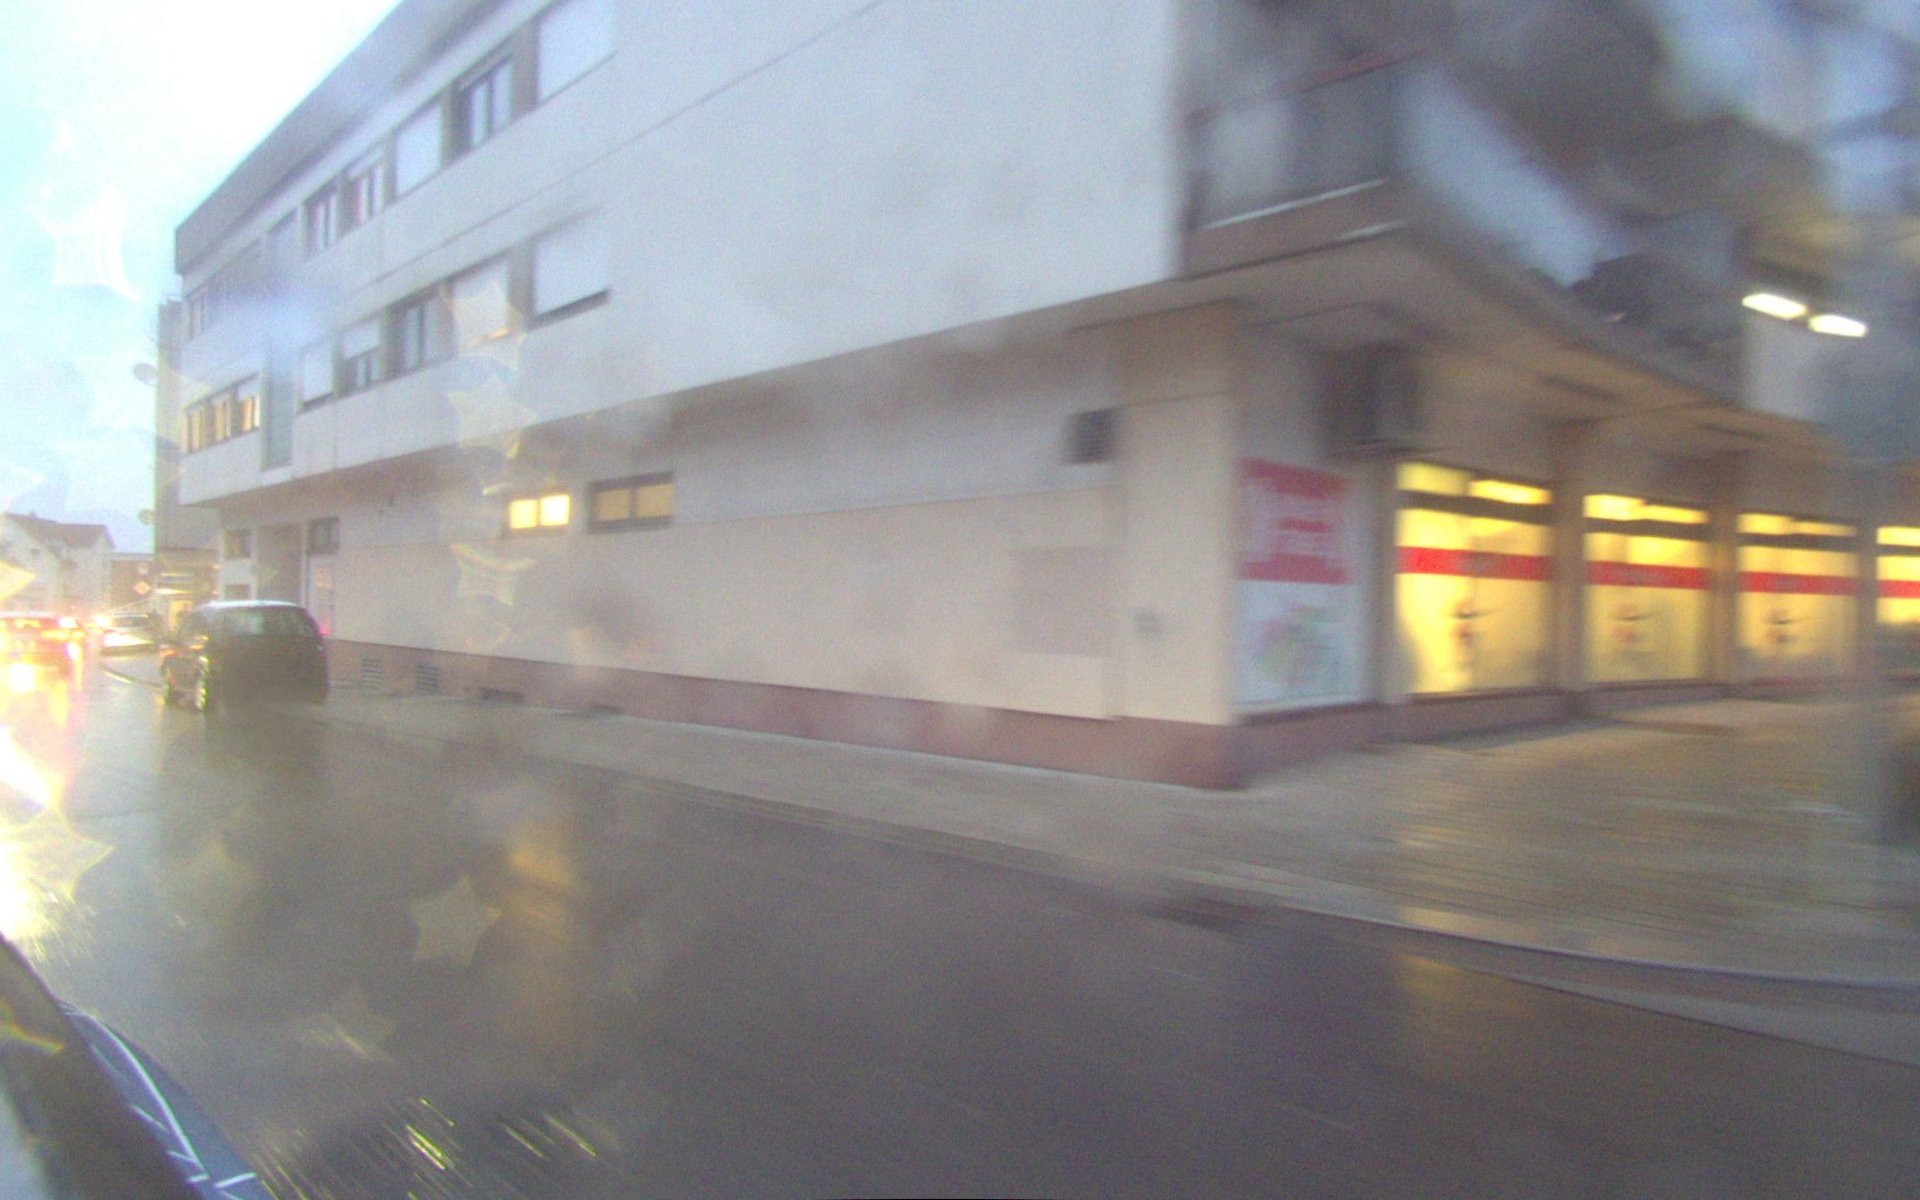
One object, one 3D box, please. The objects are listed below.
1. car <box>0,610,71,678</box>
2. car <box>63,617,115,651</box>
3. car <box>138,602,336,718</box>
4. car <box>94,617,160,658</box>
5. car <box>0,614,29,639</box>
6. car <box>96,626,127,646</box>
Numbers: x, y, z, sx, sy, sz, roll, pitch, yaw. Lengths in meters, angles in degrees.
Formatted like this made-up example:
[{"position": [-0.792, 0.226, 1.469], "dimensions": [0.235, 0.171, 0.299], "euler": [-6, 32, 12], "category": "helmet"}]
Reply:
[{"position": [-24.967, 1.134, 26.879], "dimensions": [1.866, 1.692, 4.003], "euler": [-1, -1, -44], "category": "car"}, {"position": [-39.599, 1.521, 46.026], "dimensions": [1.752, 1.460, 3.832], "euler": [-1, -1, -41], "category": "car"}, {"position": [-11.757, 0.881, 16.370], "dimensions": [3.826, 1.629, 1.874], "euler": [-1, -1, 43], "category": "car"}, {"position": [-31.940, 1.412, 38.769], "dimensions": [1.752, 1.460, 3.831], "euler": [-1, -1, -42], "category": "car"}, {"position": [-63.996, 1.795, 67.886], "dimensions": [1.894, 1.630, 3.876], "euler": [-1, -1, -37], "category": "car"}, {"position": [-64.945, 2.759, 77.468], "dimensions": [1.473, 1.474, 3.133], "euler": [2, -1, -35], "category": "car"}]
